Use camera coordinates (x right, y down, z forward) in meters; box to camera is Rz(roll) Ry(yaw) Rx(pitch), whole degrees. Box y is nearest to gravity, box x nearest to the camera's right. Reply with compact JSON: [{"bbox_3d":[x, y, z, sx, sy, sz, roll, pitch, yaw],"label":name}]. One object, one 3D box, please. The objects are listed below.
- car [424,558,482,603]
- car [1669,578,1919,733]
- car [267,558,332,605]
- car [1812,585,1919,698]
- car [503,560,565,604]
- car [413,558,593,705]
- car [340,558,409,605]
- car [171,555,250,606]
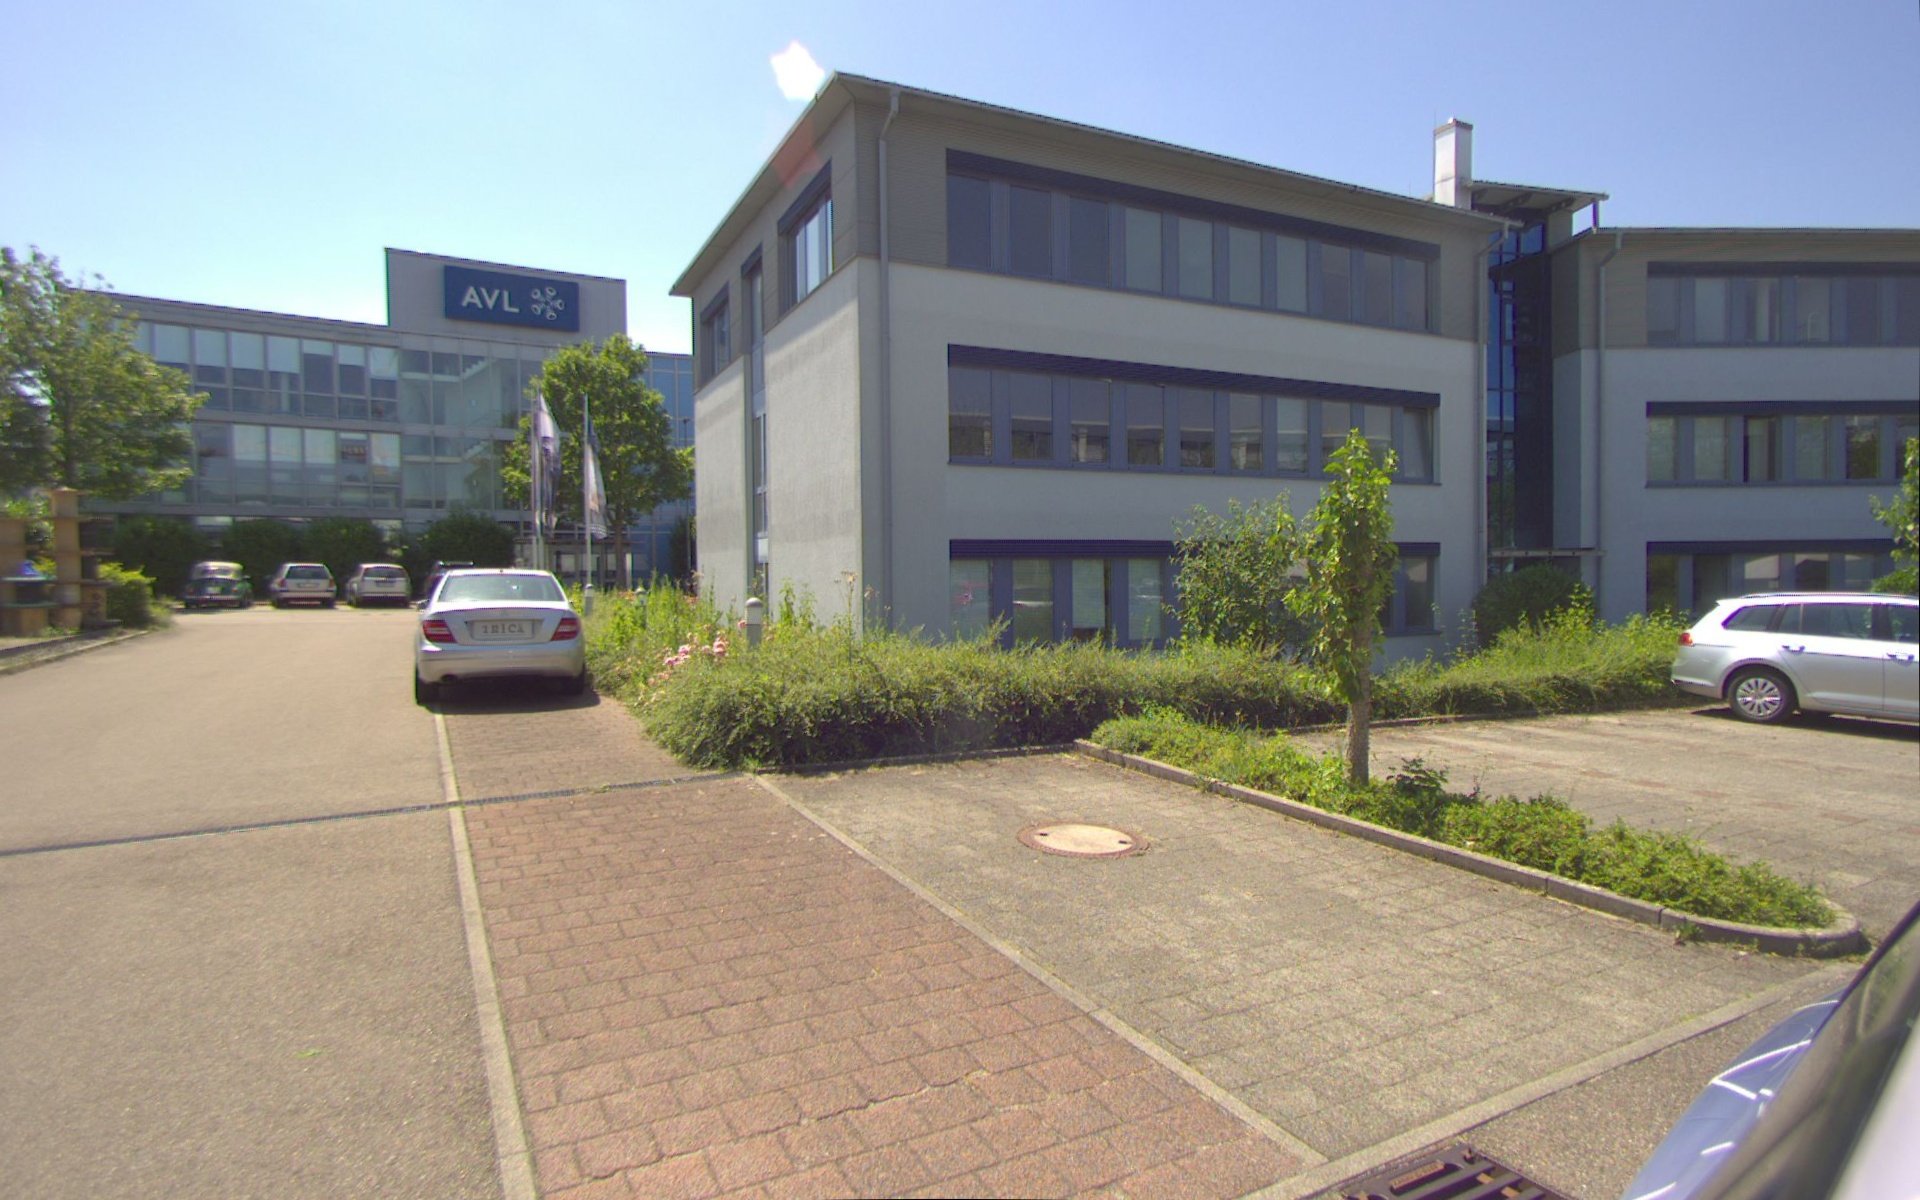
[{"bbox_3d":[-18.388,-0.706,36.641,1.714,1.538,4.005,0,1,-29],"label":"car"},{"bbox_3d":[10.384,0.566,10.580,1.793,1.515,4.526,0,2,-30],"label":"car"},{"bbox_3d":[-22.277,-0.617,34.058,1.643,1.458,3.999,0,1,-36],"label":"car"},{"bbox_3d":[13.294,0.571,12.543,1.619,1.409,3.832,0,2,-30],"label":"car"},{"bbox_3d":[-15.922,-0.675,37.730,1.714,1.538,4.005,0,1,-29],"label":"car"},{"bbox_3d":[-5.534,0.282,12.039,1.695,1.454,3.722,0,1,-28],"label":"car"},{"bbox_3d":[-20.662,-0.642,35.652,1.717,1.538,3.999,0,1,-36],"label":"car"},{"bbox_3d":[-24.094,-0.623,32.657,1.715,1.538,4.003,0,1,-32],"label":"car"}]
